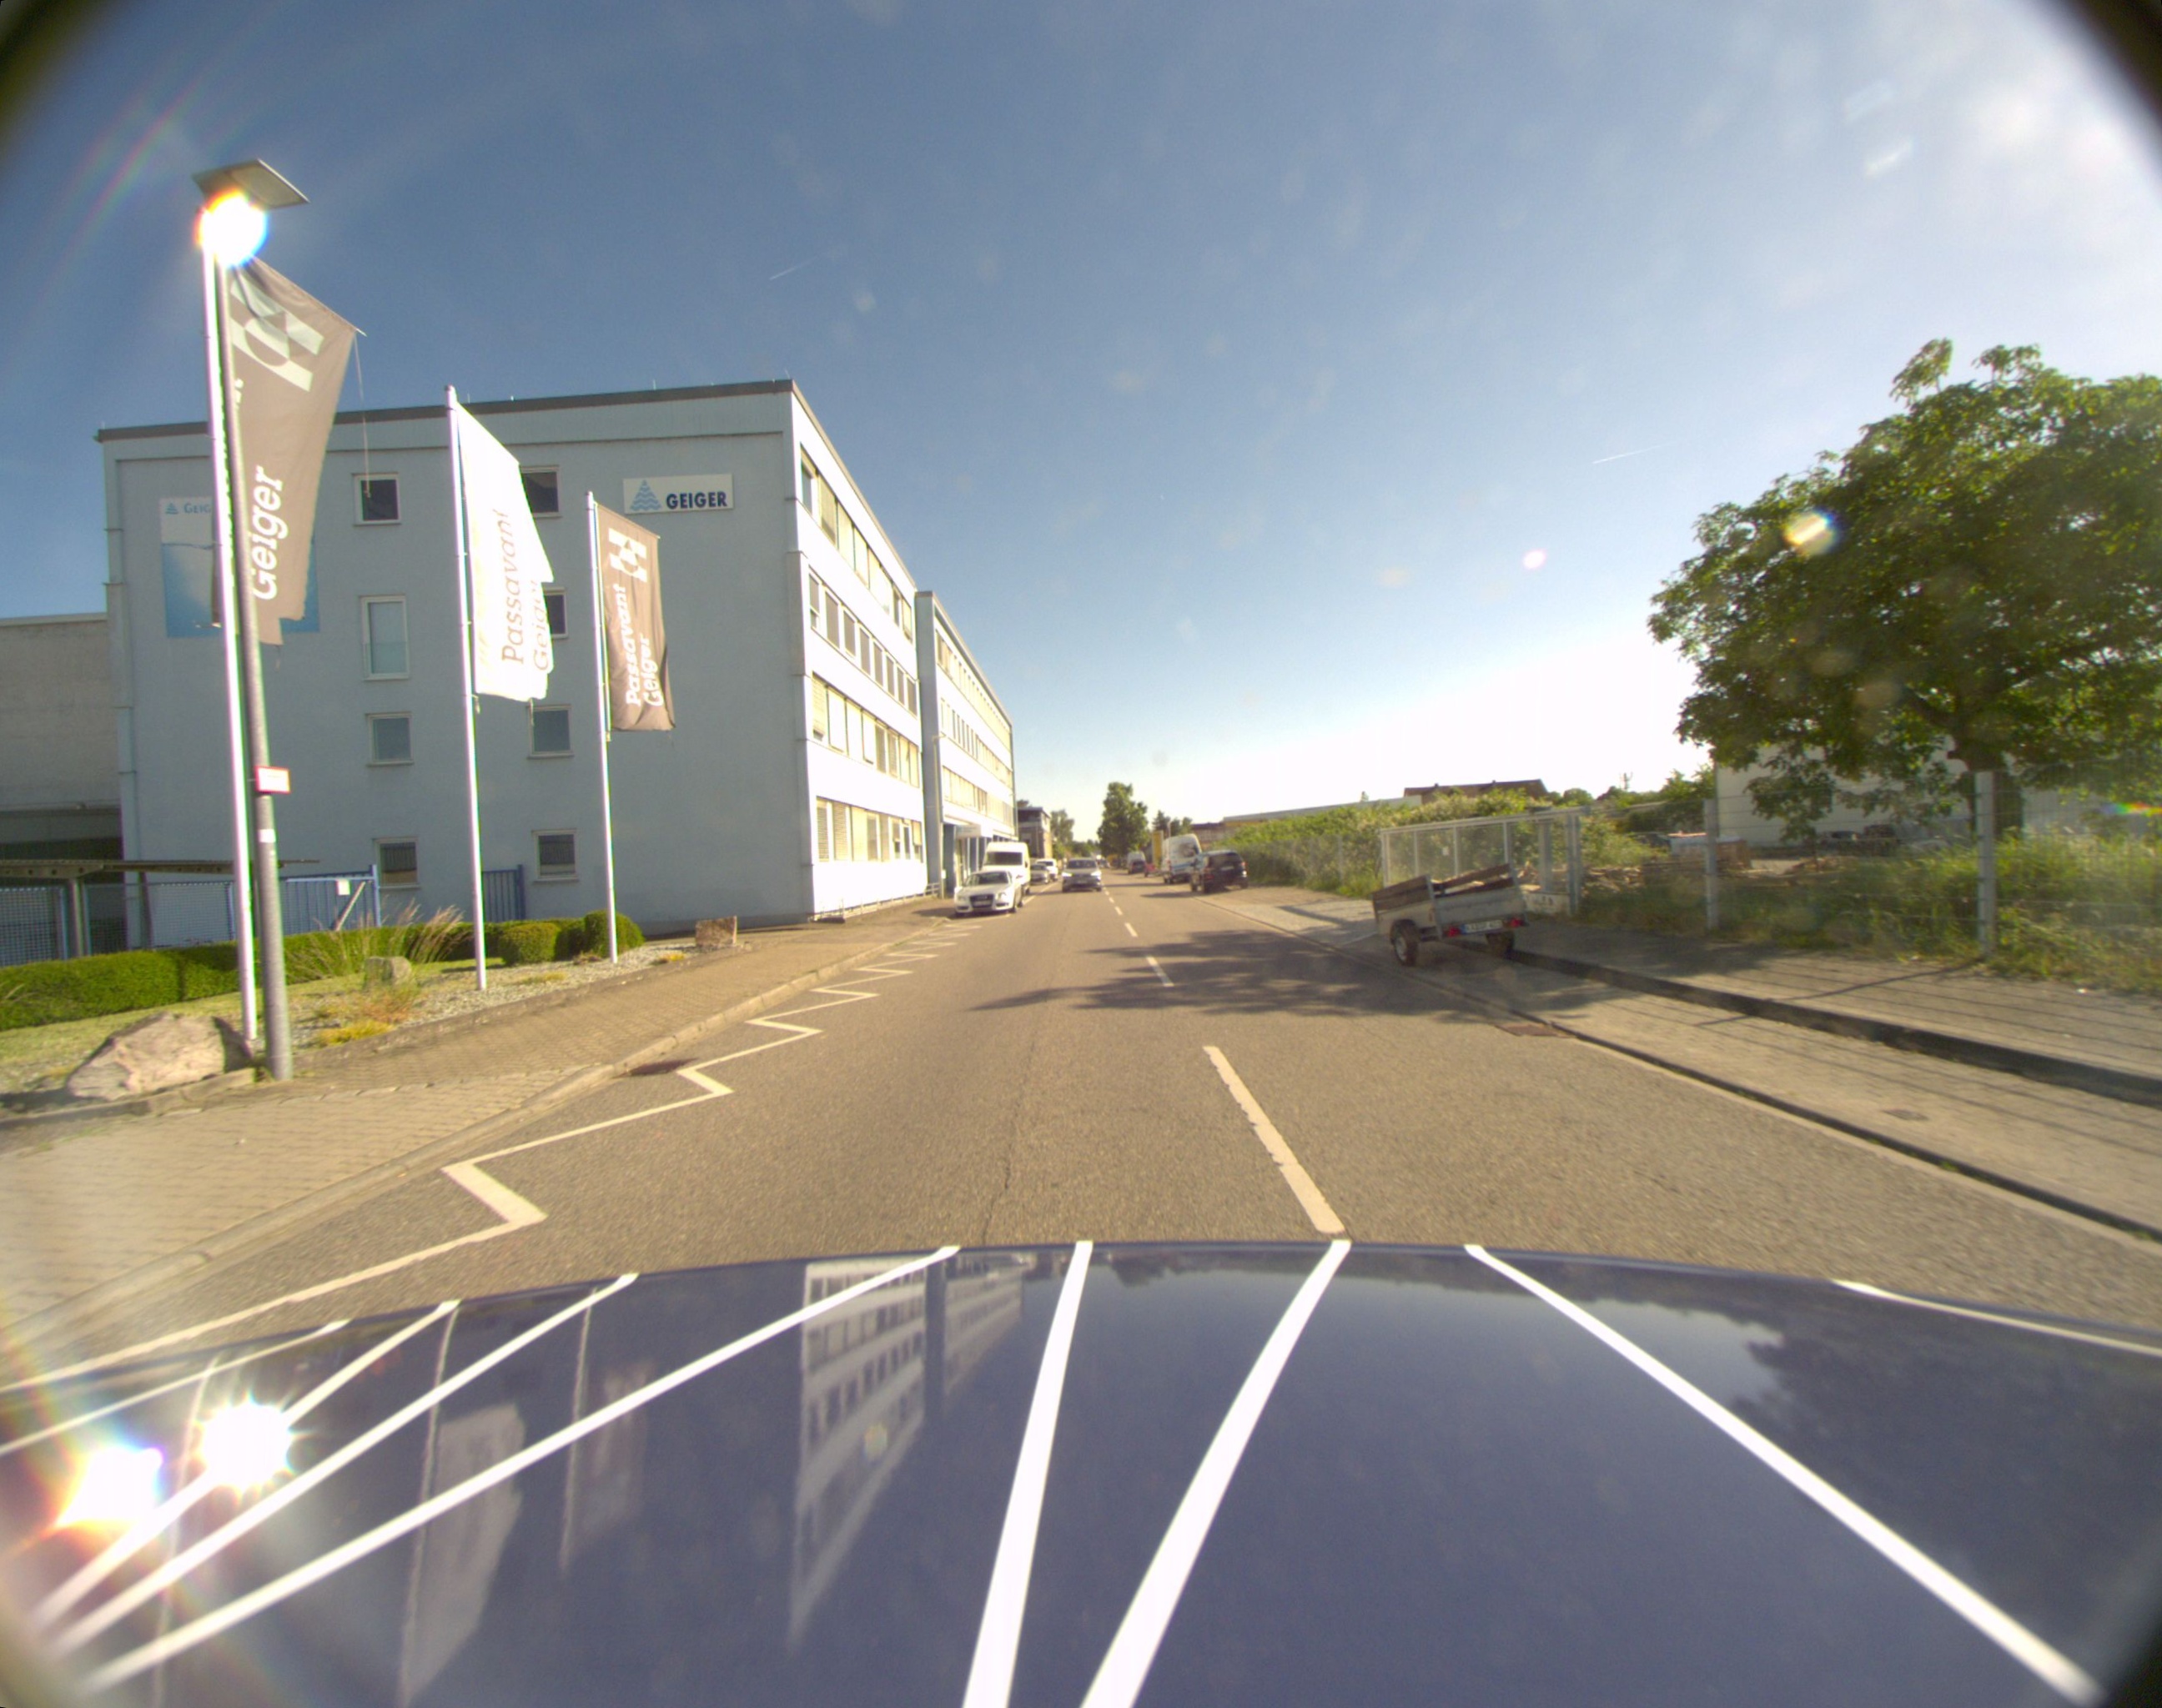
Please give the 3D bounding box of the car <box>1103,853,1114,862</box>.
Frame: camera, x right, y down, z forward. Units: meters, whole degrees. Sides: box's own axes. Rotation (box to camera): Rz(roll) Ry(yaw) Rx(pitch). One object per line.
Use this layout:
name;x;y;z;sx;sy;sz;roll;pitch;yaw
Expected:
car;4.985;0.594;138.542;1.751;1.439;4.360;-3;0;0

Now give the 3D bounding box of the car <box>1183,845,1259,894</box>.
car;5.751;0.616;31.998;2.035;1.684;5.106;-7;0;-1

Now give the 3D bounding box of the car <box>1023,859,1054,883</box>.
car;-3.025;1.197;54.876;1.894;1.551;5.090;-3;0;0

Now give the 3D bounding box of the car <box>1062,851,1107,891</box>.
car;0.193;0.806;37.464;1.998;1.750;5.016;-3;-1;0

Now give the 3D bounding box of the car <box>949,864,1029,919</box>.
car;-2.921;1.152;25.175;1.899;1.397;5.124;-4;0;0

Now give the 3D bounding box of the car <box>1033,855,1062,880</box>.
car;-2.691;1.069;62.582;1.894;1.821;5.091;-3;0;2

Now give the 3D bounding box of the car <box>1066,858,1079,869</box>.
car;-1.360;1.505;121.426;1.937;1.635;4.769;-2;0;-1

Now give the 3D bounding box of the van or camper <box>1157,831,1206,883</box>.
van or camper;5.838;0.179;44.850;1.971;2.669;5.949;-8;0;2

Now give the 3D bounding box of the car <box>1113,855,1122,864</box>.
car;8.004;1.195;166.103;1.779;1.838;4.616;-5;0;4

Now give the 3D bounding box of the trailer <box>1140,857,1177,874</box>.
trailer;6.428;0.977;63.889;2.382;1.073;6.246;-6;-1;0

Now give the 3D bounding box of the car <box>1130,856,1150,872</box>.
car;6.422;1.077;83.211;1.804;1.501;5.003;-6;0;1

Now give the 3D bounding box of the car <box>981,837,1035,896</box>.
car;-3.412;0.604;36.526;1.999;2.582;6.051;-1;-1;0

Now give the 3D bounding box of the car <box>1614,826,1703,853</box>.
car;37.613;-0.925;49.589;4.164;1.565;1.850;-3;0;14

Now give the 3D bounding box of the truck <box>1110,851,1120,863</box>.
truck;8.901;0.758;197.699;2.173;2.698;5.750;-4;0;1

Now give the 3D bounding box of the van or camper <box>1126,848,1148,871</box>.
van or camper;6.924;0.631;94.035;2.076;2.534;6.404;-7;0;1

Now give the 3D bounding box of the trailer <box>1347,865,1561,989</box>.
trailer;5.072;0.910;10.779;1.480;1.346;3.078;-4;0;1

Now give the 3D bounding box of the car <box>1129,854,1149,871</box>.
car;6.743;1.004;88.487;1.998;1.727;4.576;-6;0;4
